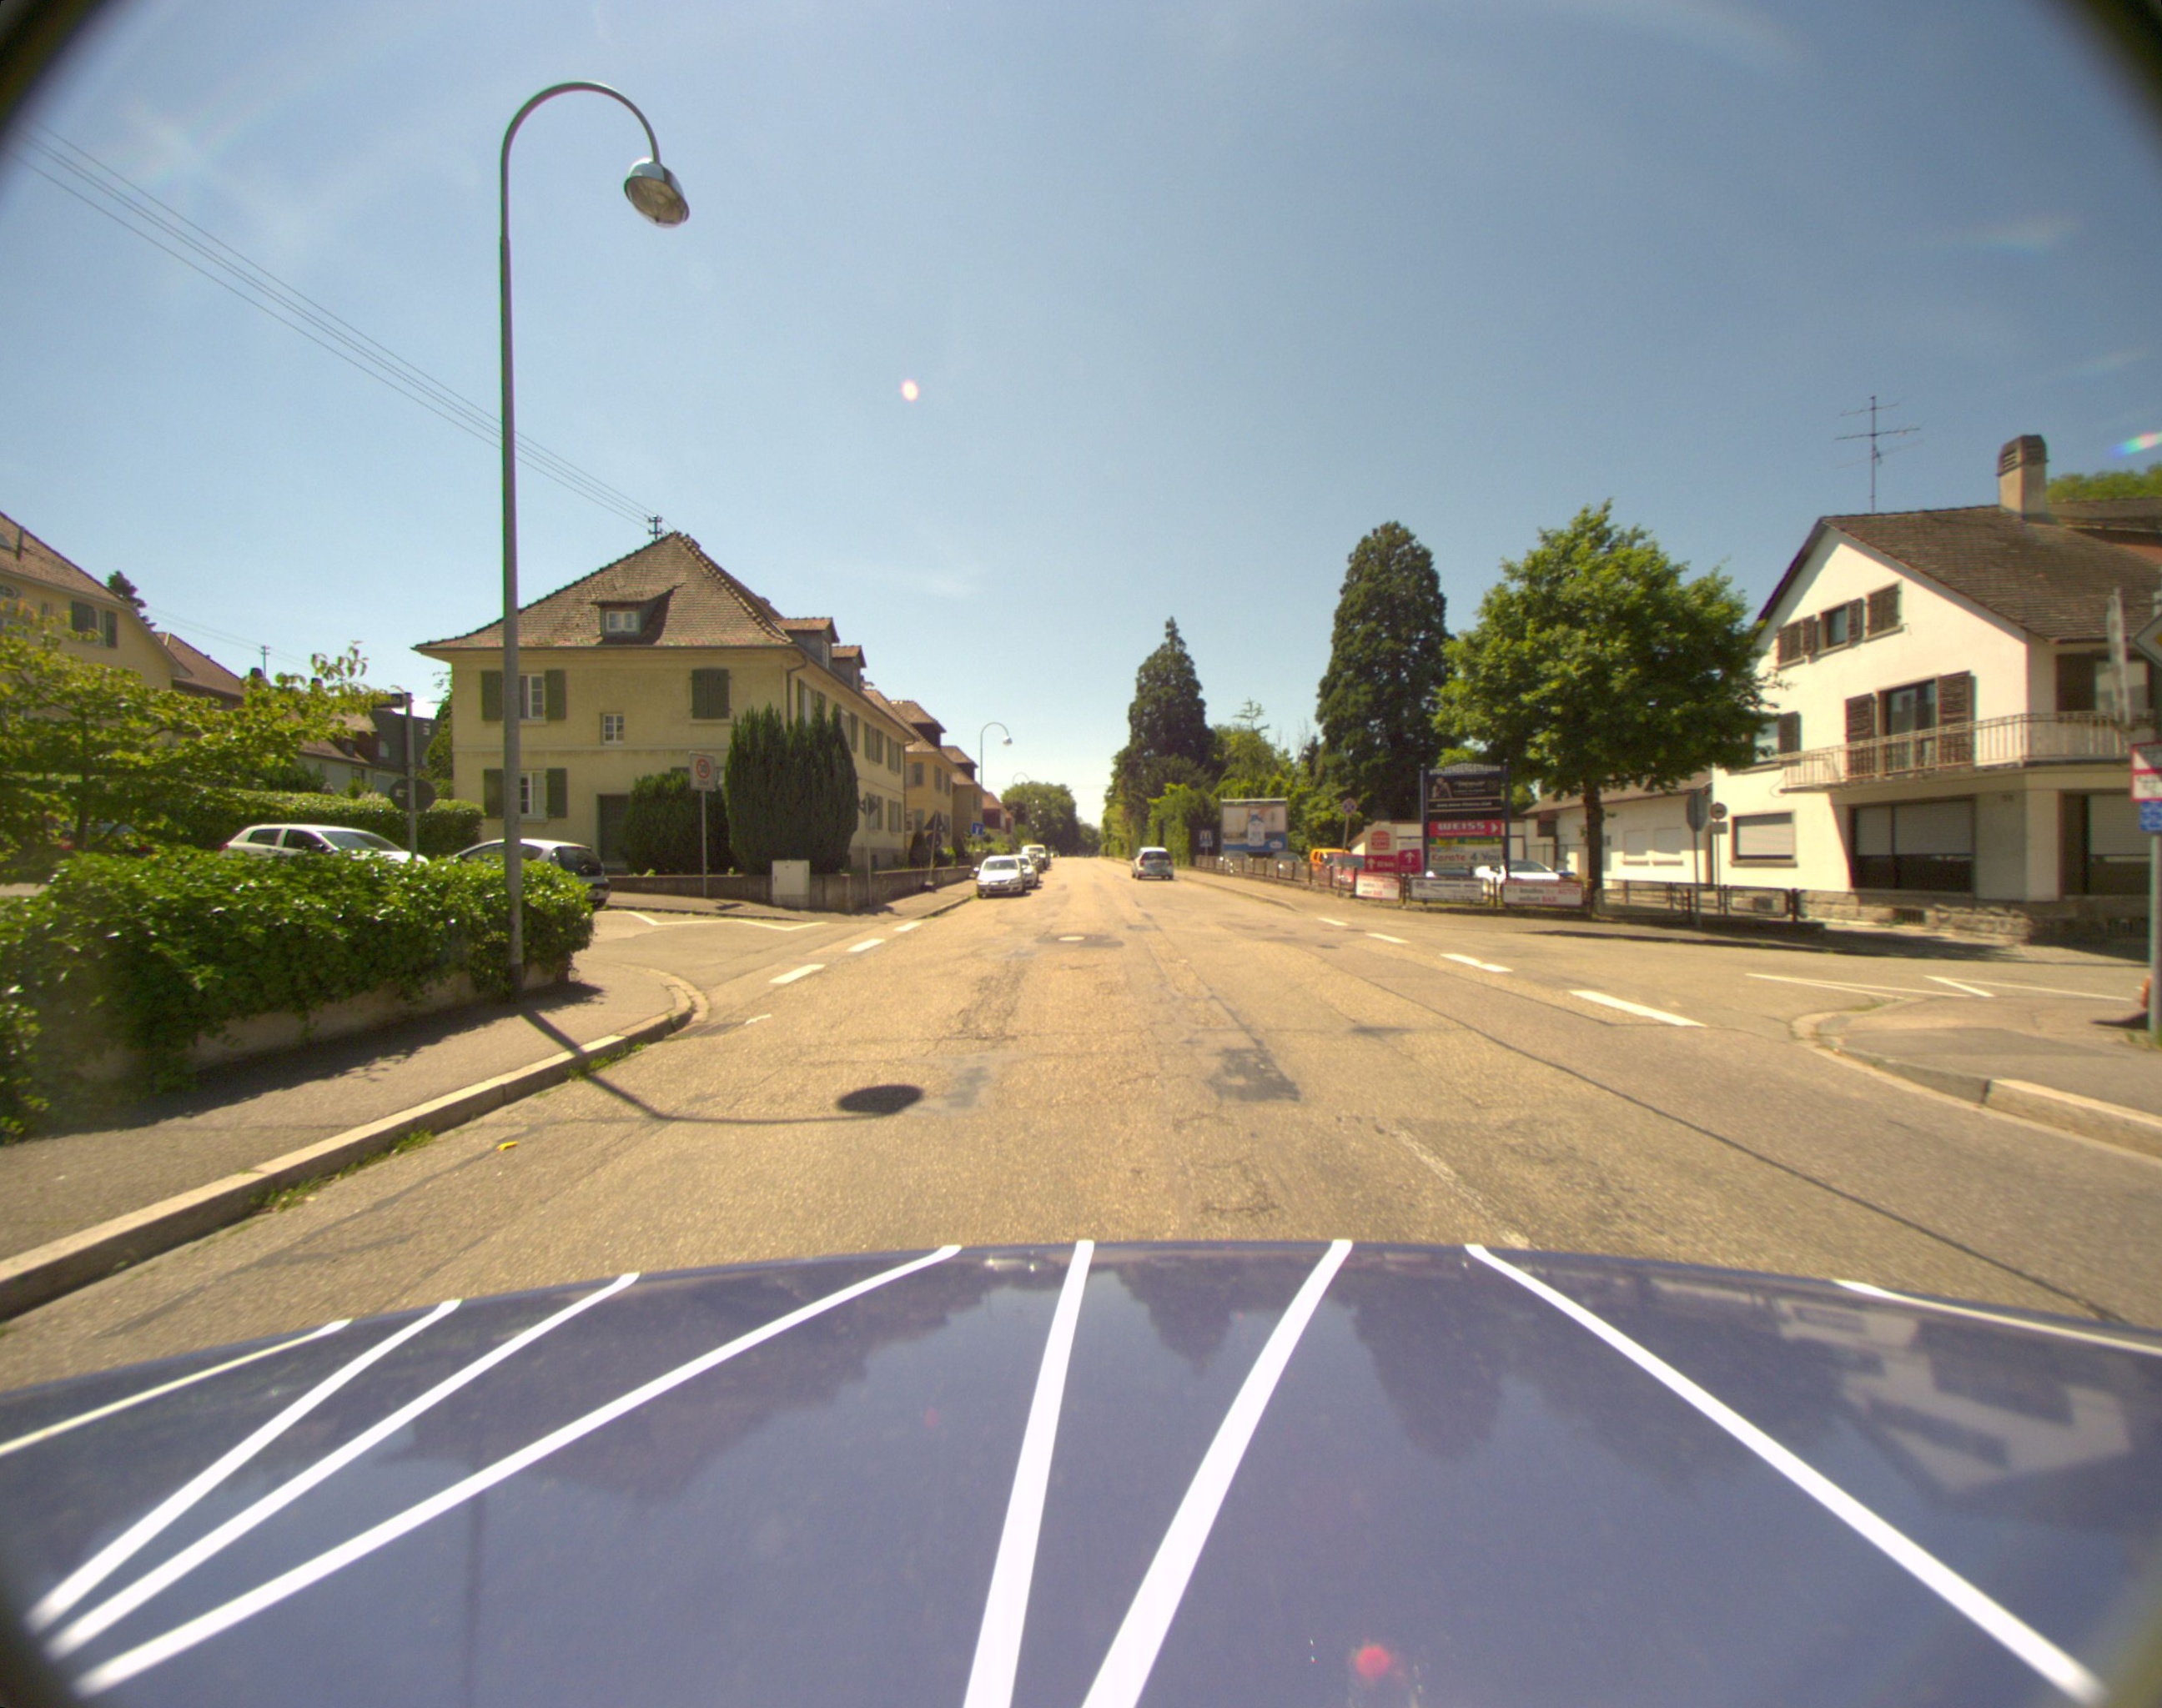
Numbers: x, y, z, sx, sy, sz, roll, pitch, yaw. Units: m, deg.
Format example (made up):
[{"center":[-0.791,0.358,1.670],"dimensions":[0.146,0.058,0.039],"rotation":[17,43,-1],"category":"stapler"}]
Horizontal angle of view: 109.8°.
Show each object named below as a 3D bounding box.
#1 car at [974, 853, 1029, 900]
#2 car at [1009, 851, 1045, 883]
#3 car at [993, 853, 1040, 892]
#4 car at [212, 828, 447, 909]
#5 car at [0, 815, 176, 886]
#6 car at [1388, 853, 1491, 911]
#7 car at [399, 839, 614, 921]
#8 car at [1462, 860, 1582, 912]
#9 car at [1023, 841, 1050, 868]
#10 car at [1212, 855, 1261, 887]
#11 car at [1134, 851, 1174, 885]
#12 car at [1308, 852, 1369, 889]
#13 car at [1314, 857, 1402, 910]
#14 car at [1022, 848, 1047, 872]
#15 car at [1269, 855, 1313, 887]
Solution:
[{"center":[-2.847,0.758,27.867],"dimensions":[1.671,1.457,3.998],"rotation":[-3,1,-2],"category":"car"},{"center":[-2.664,0.628,38.144],"dimensions":[1.600,1.422,3.999],"rotation":[-3,0,-2],"category":"car"},{"center":[-2.705,0.731,32.576],"dimensions":[1.671,1.427,3.998],"rotation":[-3,1,-2],"category":"car"},{"center":[-15.882,0.282,16.154],"dimensions":[3.509,1.445,1.613],"rotation":[3,1,4],"category":"car"},{"center":[-22.833,-0.101,16.797],"dimensions":[3.833,1.444,1.699],"rotation":[1,1,4],"category":"car"},{"center":[11.572,0.826,24.885],"dimensions":[1.797,1.669,4.626],"rotation":[0,1,9],"category":"car"},{"center":[-12.116,0.503,16.134],"dimensions":[3.412,1.445,1.613],"rotation":[3,1,6],"category":"car"},{"center":[13.904,0.944,24.215],"dimensions":[1.798,1.425,4.001],"rotation":[0,1,6],"category":"car"},{"center":[-3.410,0.020,58.635],"dimensions":[1.852,1.858,4.689],"rotation":[-3,2,-2],"category":"car"},{"center":[8.461,0.913,41.666],"dimensions":[1.799,1.510,3.998],"rotation":[0,2,-1],"category":"car"},{"center":[3.637,0.650,38.315],"dimensions":[1.656,1.553,3.884],"rotation":[0,1,1],"category":"car"},{"center":[13.721,0.840,40.732],"dimensions":[1.799,1.733,3.998],"rotation":[0,2,-1],"category":"car"},{"center":[9.024,0.909,25.076],"dimensions":[1.798,1.509,4.001],"rotation":[0,1,6],"category":"car"},{"center":[-3.170,0.405,52.543],"dimensions":[1.600,1.495,3.998],"rotation":[-2,1,-2],"category":"car"},{"center":[11.414,0.908,41.556],"dimensions":[1.797,1.510,4.001],"rotation":[0,2,7],"category":"car"}]
